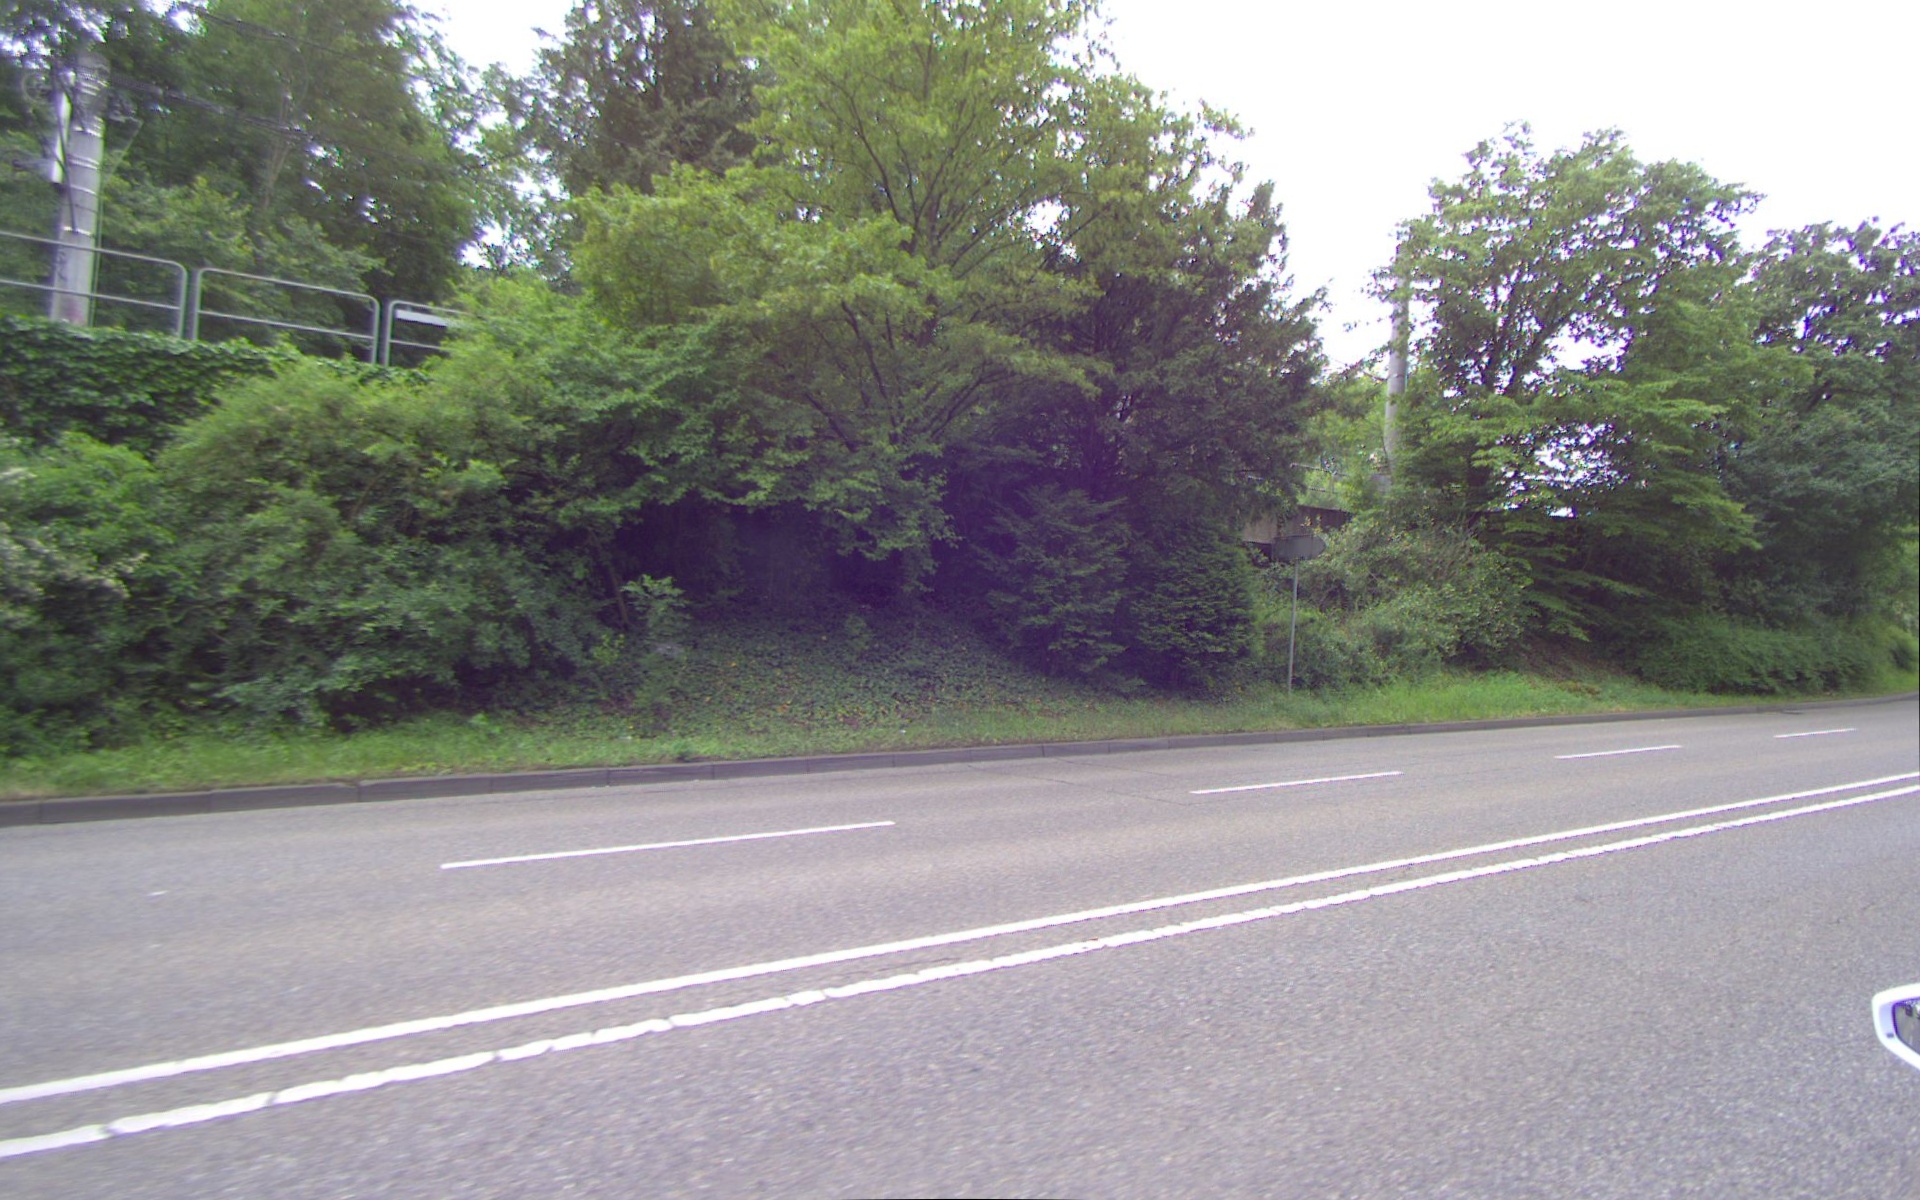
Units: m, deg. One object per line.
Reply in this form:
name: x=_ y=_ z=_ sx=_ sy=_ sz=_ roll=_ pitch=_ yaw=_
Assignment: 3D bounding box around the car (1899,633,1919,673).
car: x=43.692 y=2.398 z=43.866 sx=1.824 sy=1.717 sz=4.438 roll=-3 pitch=0 yaw=12
